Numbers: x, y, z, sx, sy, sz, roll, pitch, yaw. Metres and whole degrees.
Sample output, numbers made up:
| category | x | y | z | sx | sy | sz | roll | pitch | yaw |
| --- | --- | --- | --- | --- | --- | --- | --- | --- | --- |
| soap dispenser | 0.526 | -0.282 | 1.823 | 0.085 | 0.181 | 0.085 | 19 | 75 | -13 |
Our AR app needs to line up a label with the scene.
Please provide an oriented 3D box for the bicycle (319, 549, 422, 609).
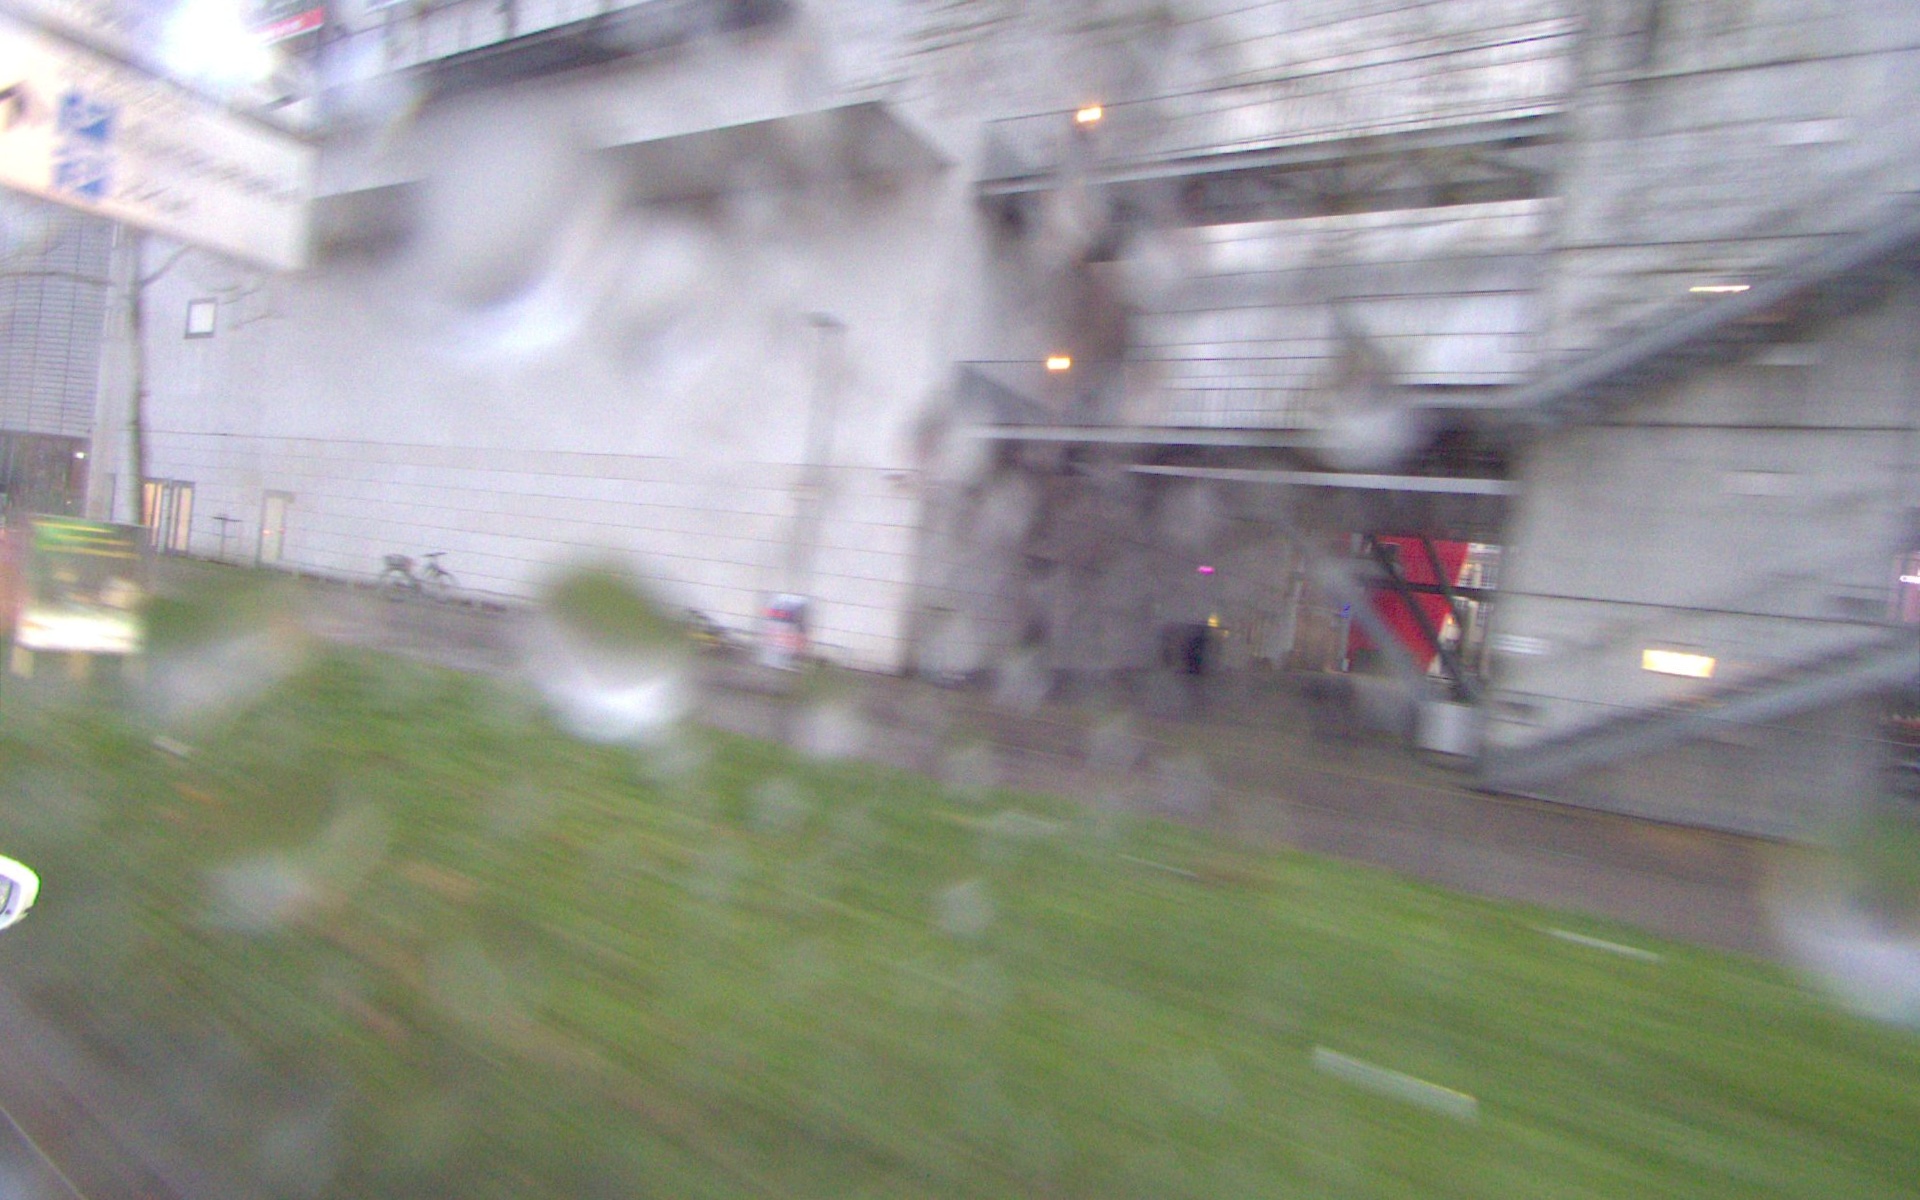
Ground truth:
| category | x | y | z | sx | sy | sz | roll | pitch | yaw |
| --- | --- | --- | --- | --- | --- | --- | --- | --- | --- |
| bicycle | -11.926 | -0.400 | 20.410 | 0.390 | 1.065 | 1.812 | 7 | 1 | 28 |

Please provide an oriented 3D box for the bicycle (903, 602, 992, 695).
| category | x | y | z | sx | sy | sz | roll | pitch | yaw |
| --- | --- | --- | --- | --- | --- | --- | --- | --- | --- |
| bicycle | -0.226 | 0.744 | 15.986 | 0.408 | 1.299 | 1.729 | 8 | -1 | -32 |
